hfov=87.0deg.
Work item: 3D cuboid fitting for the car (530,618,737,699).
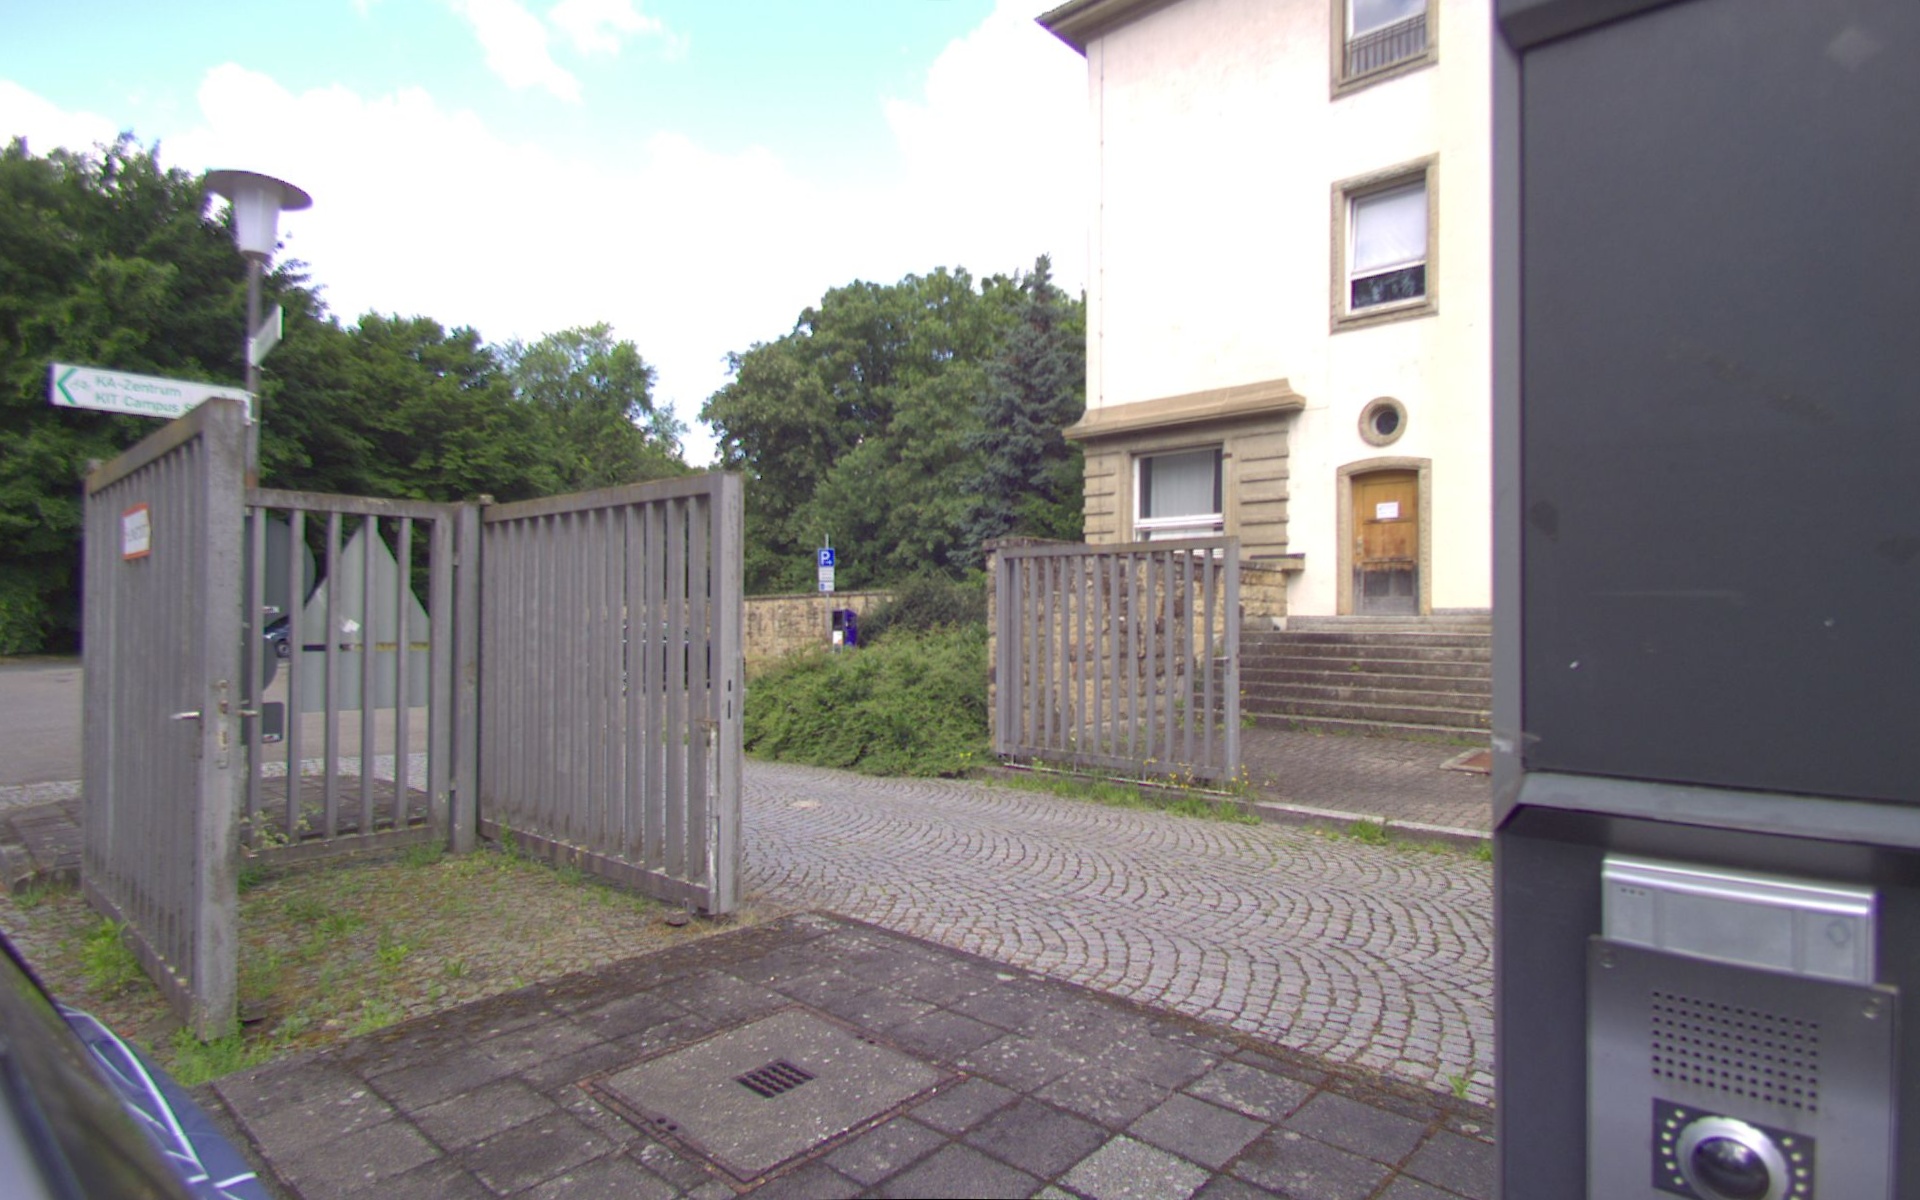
[{"bbox_3d":[-7.190,1.231,22.516,1.900,1.558,3.942,-2,-1,44],"label":"car"}]
